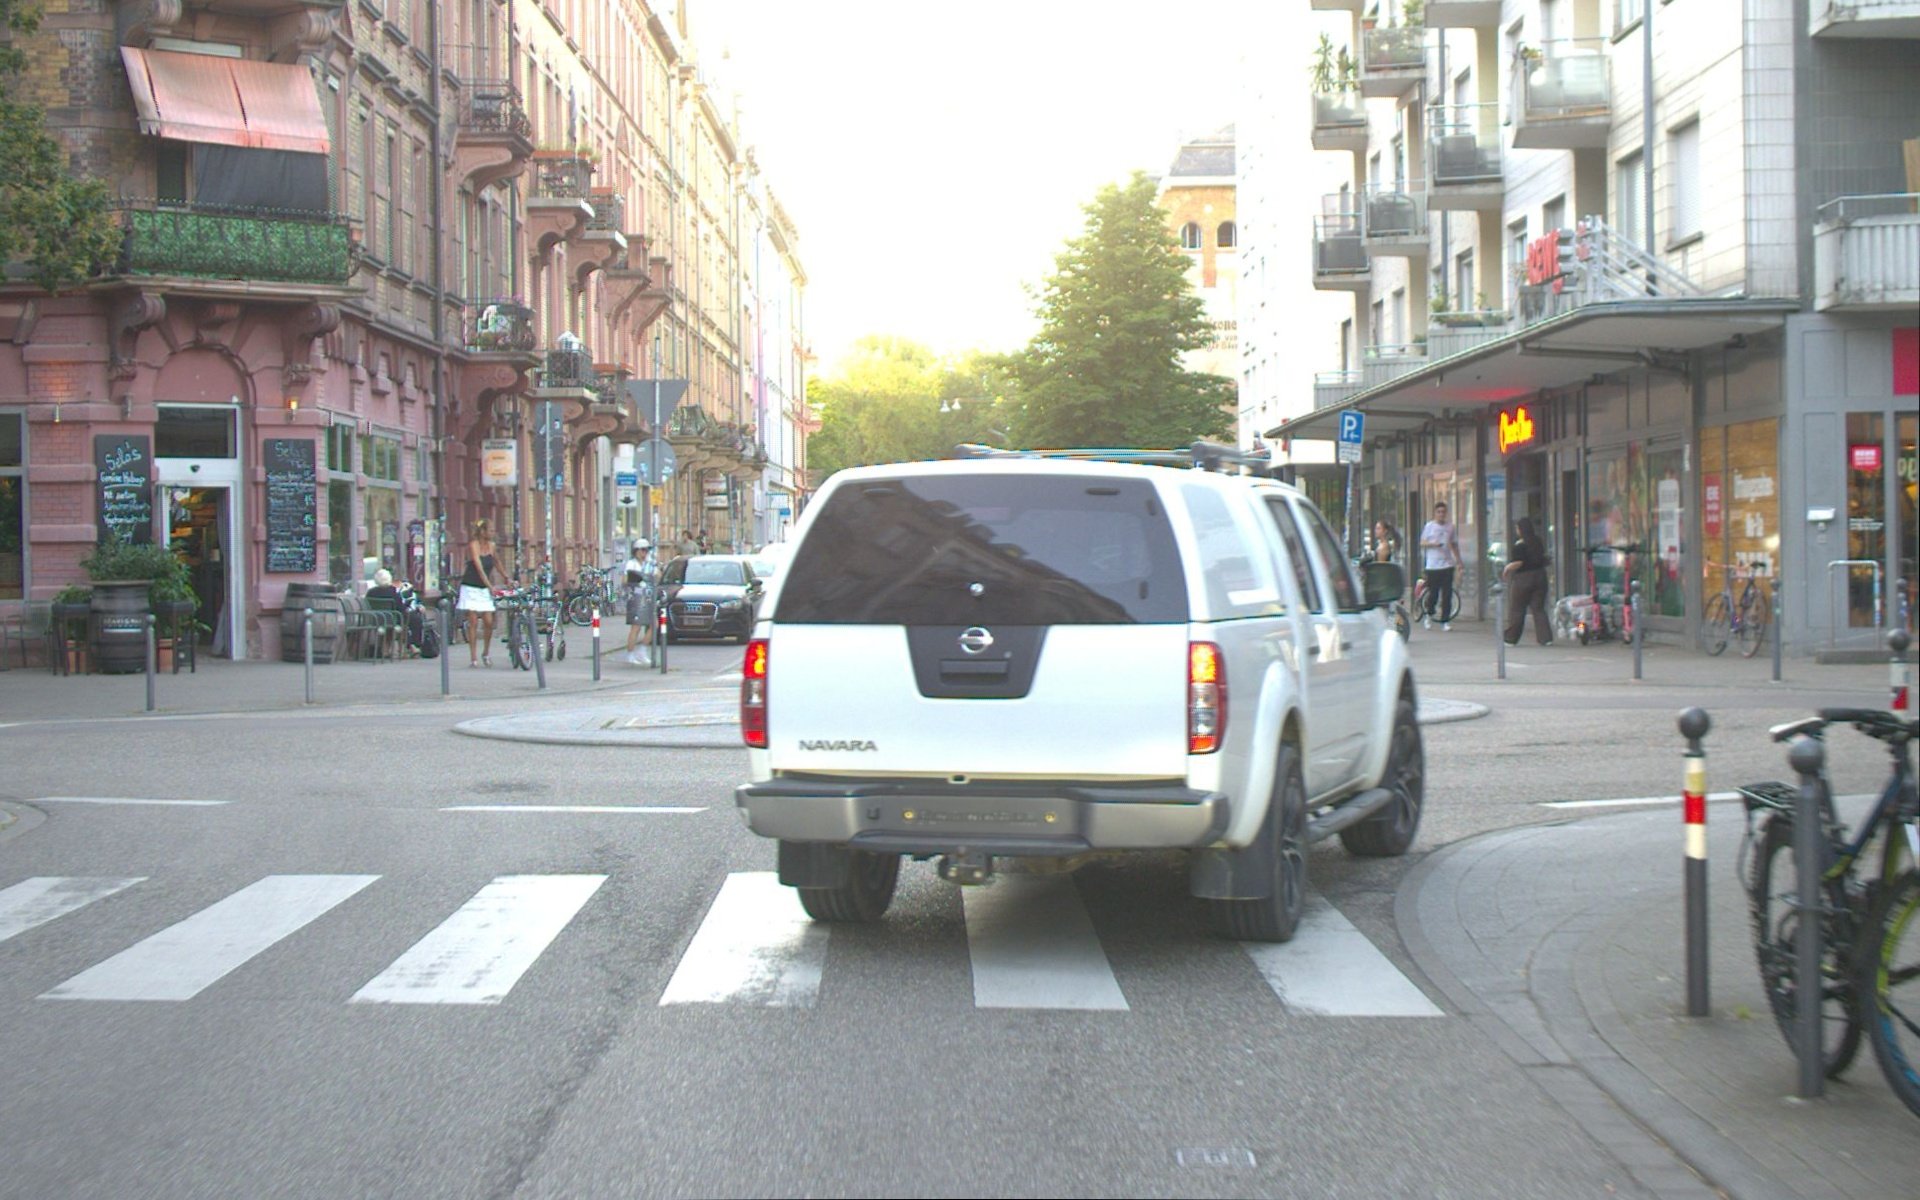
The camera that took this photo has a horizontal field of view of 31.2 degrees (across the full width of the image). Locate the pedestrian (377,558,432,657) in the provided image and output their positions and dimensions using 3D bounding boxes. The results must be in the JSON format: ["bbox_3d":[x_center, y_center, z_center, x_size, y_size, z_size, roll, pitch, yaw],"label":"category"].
[{"bbox_3d":[-7.310,0.099,45.276,0.648,1.281,0.540,1,0,-4],"label":"pedestrian"}]

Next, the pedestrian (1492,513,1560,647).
[{"bbox_3d":[7.112,-0.250,43.213,0.720,1.657,0.702,1,0,0],"label":"pedestrian"}]

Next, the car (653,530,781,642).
[{"bbox_3d":[-3.936,-0.230,56.181,1.834,1.744,4.000,1,0,-1],"label":"car"}]

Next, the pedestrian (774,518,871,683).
[{"bbox_3d":[-1.467,0.003,36.777,0.615,1.730,0.905,1,0,31],"label":"pedestrian"}]

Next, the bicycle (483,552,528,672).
[{"bbox_3d":[-5.571,0.136,42.144,0.424,1.437,1.905,1,0,-4],"label":"bicycle"}]

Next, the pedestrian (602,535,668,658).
[{"bbox_3d":[-4.319,-0.052,45.771,0.798,1.615,0.944,1,0,-2],"label":"pedestrian"}]

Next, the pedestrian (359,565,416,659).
[{"bbox_3d":[-7.339,0.153,44.090,0.648,1.187,0.540,1,0,-4],"label":"pedestrian"}]

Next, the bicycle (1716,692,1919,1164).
[{"bbox_3d":[2.360,0.796,8.889,0.364,1.060,1.552,1,0,-4],"label":"bicycle"}]

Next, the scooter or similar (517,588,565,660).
[{"bbox_3d":[-5.530,0.306,45.381,0.233,0.926,1.266,1,0,-25],"label":"scooter or similar"}]

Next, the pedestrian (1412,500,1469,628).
[{"bbox_3d":[7.177,-0.538,51.383,0.720,1.900,0.702,1,0,0],"label":"pedestrian"}]

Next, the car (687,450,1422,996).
[{"bbox_3d":[0.616,0.314,13.994,1.939,1.804,4.998,0,2,14],"label":"car"}]

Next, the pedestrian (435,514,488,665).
[{"bbox_3d":[-6.130,-0.128,42.262,0.503,1.834,0.573,1,0,-22],"label":"pedestrian"}]

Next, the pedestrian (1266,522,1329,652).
[{"bbox_3d":[4.368,-0.164,44.504,0.720,1.657,0.702,1,0,0],"label":"pedestrian"}]

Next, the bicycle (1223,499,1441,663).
[{"bbox_3d":[4.660,-0.243,43.174,2.647,2.007,0.638,1,0,1],"label":"bicycle"}]

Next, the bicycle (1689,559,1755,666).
[{"bbox_3d":[8.080,0.127,36.458,0.289,1.109,0.966,1,0,-12],"label":"bicycle"}]

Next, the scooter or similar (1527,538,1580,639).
[{"bbox_3d":[7.685,-0.149,44.539,0.440,1.286,1.667,1,0,2],"label":"scooter or similar"}]

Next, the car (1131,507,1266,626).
[{"bbox_3d":[4.024,-0.565,58.621,1.942,1.927,4.000,1,0,-1],"label":"car"}]

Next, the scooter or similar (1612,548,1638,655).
[{"bbox_3d":[7.850,0.012,40.605,0.219,1.233,0.966,1,2,7],"label":"scooter or similar"}]

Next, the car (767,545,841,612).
[{"bbox_3d":[-4.155,-0.570,92.291,1.834,1.744,4.000,1,0,-1],"label":"car"}]

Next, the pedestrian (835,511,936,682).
[{"bbox_3d":[-0.828,-0.039,38.110,0.903,1.878,0.616,1,0,-30],"label":"pedestrian"}]

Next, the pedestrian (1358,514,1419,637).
[{"bbox_3d":[5.868,-0.332,47.092,0.720,1.657,0.702,1,0,0],"label":"pedestrian"}]

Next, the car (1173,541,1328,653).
[{"bbox_3d":[4.161,-0.054,49.843,1.834,1.536,4.000,1,0,-1],"label":"car"}]

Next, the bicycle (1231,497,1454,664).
[{"bbox_3d":[4.700,-0.238,42.359,2.647,2.007,0.638,1,0,1],"label":"bicycle"}]

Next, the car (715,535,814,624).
[{"bbox_3d":[-3.964,-0.417,70.237,1.834,1.744,4.163,1,0,-1],"label":"car"}]
